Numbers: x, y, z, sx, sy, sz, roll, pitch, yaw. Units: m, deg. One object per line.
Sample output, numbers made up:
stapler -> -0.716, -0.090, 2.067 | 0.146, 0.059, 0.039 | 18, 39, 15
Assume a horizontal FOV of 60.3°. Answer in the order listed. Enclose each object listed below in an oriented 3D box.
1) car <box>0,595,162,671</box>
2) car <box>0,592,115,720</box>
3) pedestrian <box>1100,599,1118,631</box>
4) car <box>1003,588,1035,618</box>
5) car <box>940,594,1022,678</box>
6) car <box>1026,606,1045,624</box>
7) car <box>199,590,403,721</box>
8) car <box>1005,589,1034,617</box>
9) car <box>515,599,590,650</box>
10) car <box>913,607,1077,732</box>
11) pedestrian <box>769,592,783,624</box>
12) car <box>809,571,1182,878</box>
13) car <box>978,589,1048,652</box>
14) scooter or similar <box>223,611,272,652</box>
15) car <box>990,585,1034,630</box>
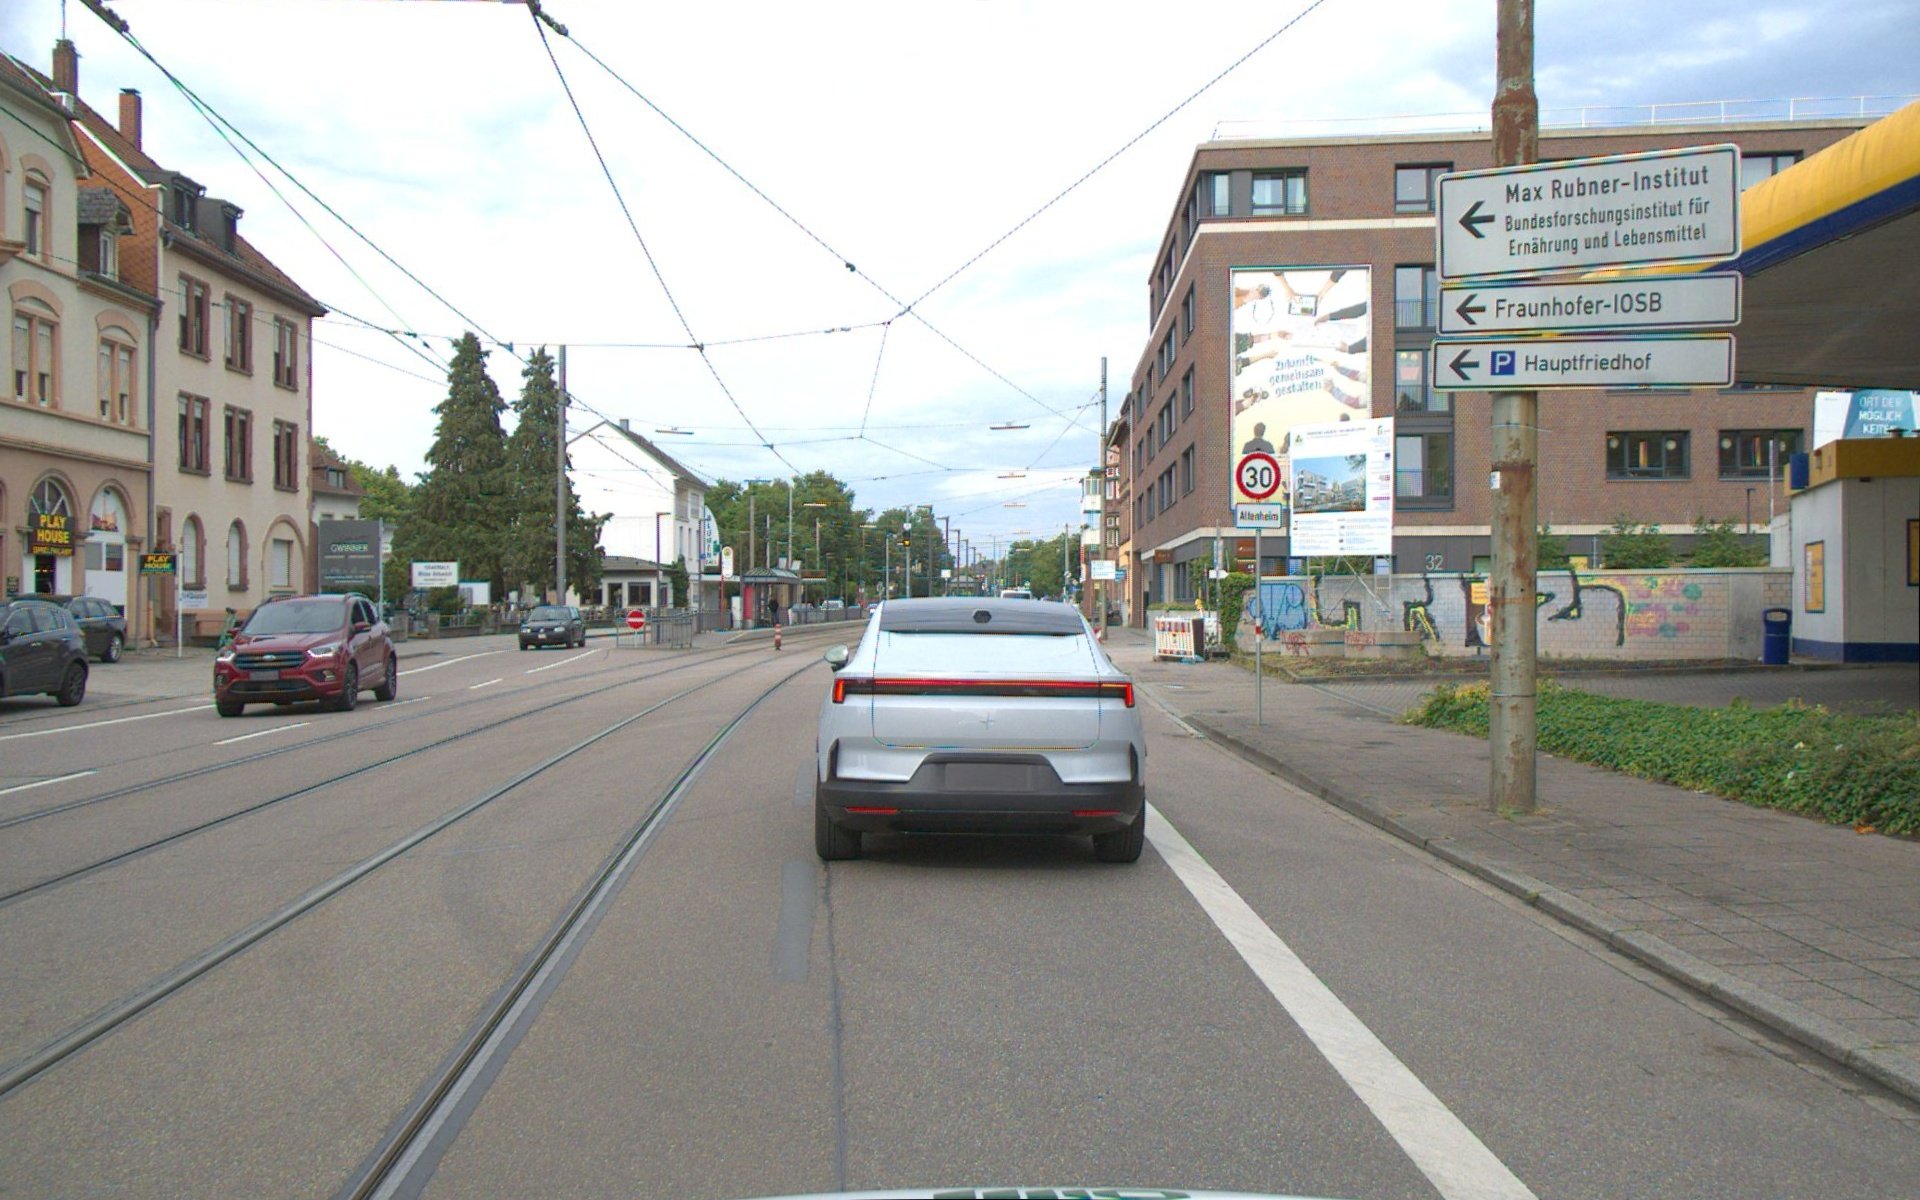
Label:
car -> -19.282, 0.668, 35.607 | 1.953, 1.519, 4.900 | 0, 0, -2
car -> -14.942, 0.796, 25.237 | 1.997, 1.780, 4.531 | 2, 0, -5
pedestrian -> 8.954, 0.885, 99.543 | 0.940, 1.882, 0.976 | -2, 0, 8
car -> 4.036, 0.216, 113.940 | 1.953, 2.049, 3.999 | 1, -1, -1
car -> 0.509, 0.766, 36.198 | 1.646, 1.717, 3.825 | 1, -1, 3
car -> 8.661, 1.682, 190.452 | 1.953, 2.049, 3.999 | 1, -1, -1
car -> -9.653, 0.757, 24.589 | 1.808, 1.754, 4.399 | 0, 0, -8
car -> 4.450, 0.229, 123.879 | 1.953, 2.049, 3.999 | 1, -1, -1
car -> -13.535, 0.799, 55.114 | 1.755, 1.557, 4.136 | -2, 0, -5
car -> 0.458, 0.838, 21.774 | 1.952, 1.444, 4.001 | -1, 0, 1
pedestrian -> -9.686, 0.437, 87.207 | 0.602, 1.694, 0.698 | 1, -1, 5
car -> 0.128, 0.686, 10.784 | 1.959, 1.608, 3.998 | 1, -1, -2
car -> 1.612, 0.619, 51.265 | 1.953, 1.847, 3.999 | -1, 0, -1
scooter or similar -> -19.457, 0.861, 45.154 | 1.162, 1.121, 0.522 | 1, -1, -32
car -> 2.847, 0.420, 92.093 | 2.181, 2.444, 5.122 | 1, -1, -1
